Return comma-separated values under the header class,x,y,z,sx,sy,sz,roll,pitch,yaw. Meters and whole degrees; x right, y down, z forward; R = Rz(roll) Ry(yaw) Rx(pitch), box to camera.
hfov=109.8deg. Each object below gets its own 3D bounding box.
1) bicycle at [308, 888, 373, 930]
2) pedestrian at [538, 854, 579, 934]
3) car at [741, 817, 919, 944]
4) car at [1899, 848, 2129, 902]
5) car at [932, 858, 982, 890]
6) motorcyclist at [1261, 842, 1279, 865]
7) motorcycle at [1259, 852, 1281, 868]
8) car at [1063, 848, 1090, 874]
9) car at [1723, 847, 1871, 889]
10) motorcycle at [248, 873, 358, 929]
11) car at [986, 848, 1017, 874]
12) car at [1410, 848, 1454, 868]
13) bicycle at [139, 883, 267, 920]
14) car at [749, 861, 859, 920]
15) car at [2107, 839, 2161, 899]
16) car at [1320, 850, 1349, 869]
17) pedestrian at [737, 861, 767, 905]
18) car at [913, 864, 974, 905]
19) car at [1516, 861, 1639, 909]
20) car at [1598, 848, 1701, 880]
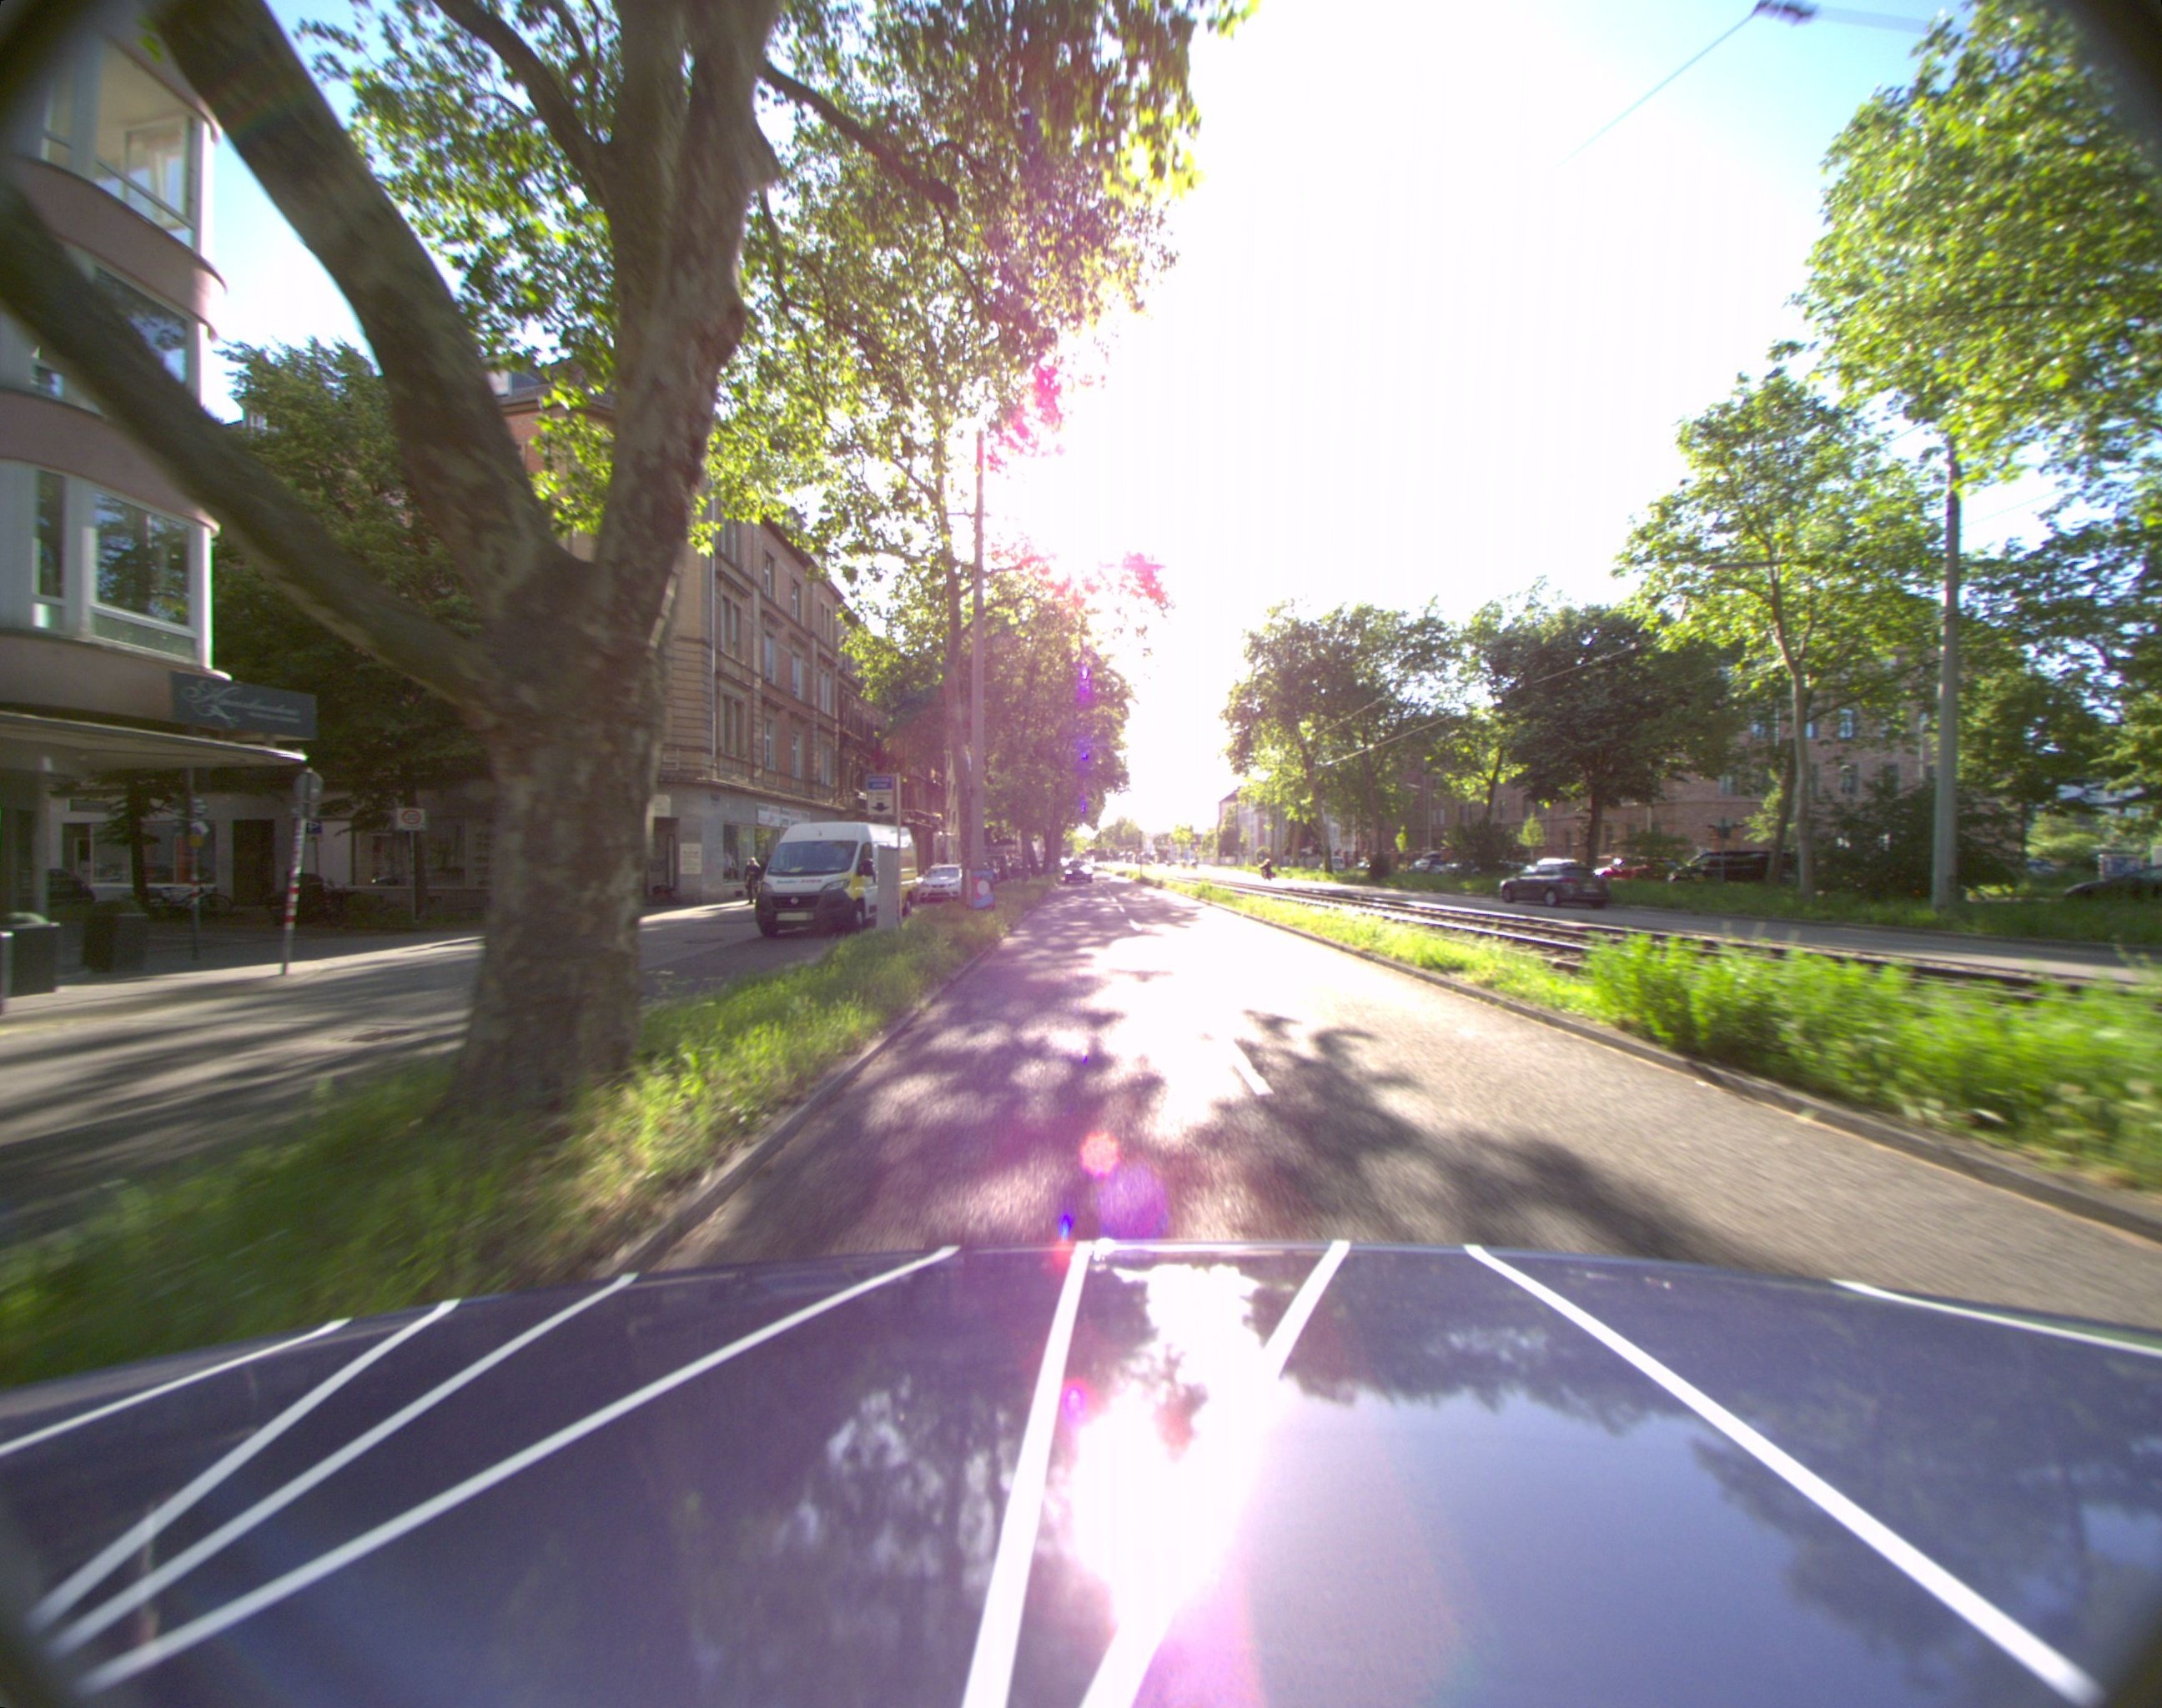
class,x,y,z,sx,sy,sz,roll,pitch,yaw
bicycle,-19.813,1.441,20.369,0.543,0.999,1.901,0,0,-22
pedestrian,-11.991,0.895,17.455,0.616,1.805,0.630,0,1,-21
car,-5.517,0.522,17.718,2.079,2.420,5.856,-1,0,1
car,27.593,0.580,22.719,1.998,1.477,4.000,0,0,1
car,-5.936,0.922,36.846,1.752,1.455,4.000,0,0,0
motorcyclist,23.964,-0.066,96.407,1.747,2.905,1.680,0,0,0
motorcycle,23.997,0.735,96.657,1.729,2.045,3.999,0,0,-1
car,-0.302,0.478,55.517,1.877,1.788,4.633,-1,0,1
car,27.437,0.508,29.331,1.998,1.477,4.000,0,0,1
motorcycle,-21.808,1.269,21.407,0.969,1.393,3.194,0,0,-22
car,-5.719,0.491,54.903,1.714,1.732,3.927,-1,0,1
car,27.053,0.314,58.667,1.771,1.477,3.688,0,0,1
bicycle,-25.351,1.351,22.010,2.376,0.941,0.529,0,0,-43
car,-8.279,1.021,23.129,1.814,1.592,4.136,-1,0,0
car,27.568,0.361,17.682,1.998,1.477,4.000,0,0,1
car,26.769,0.568,80.243,1.998,2.002,4.001,0,0,5
pedestrian,-11.674,1.019,26.975,0.738,1.556,0.730,0,0,0
car,-5.551,1.199,31.209,1.649,1.503,4.189,-1,0,1
car,16.658,1.003,25.709,1.771,1.477,3.688,0,0,1
car,27.274,0.454,36.647,1.998,1.477,4.000,0,0,1
